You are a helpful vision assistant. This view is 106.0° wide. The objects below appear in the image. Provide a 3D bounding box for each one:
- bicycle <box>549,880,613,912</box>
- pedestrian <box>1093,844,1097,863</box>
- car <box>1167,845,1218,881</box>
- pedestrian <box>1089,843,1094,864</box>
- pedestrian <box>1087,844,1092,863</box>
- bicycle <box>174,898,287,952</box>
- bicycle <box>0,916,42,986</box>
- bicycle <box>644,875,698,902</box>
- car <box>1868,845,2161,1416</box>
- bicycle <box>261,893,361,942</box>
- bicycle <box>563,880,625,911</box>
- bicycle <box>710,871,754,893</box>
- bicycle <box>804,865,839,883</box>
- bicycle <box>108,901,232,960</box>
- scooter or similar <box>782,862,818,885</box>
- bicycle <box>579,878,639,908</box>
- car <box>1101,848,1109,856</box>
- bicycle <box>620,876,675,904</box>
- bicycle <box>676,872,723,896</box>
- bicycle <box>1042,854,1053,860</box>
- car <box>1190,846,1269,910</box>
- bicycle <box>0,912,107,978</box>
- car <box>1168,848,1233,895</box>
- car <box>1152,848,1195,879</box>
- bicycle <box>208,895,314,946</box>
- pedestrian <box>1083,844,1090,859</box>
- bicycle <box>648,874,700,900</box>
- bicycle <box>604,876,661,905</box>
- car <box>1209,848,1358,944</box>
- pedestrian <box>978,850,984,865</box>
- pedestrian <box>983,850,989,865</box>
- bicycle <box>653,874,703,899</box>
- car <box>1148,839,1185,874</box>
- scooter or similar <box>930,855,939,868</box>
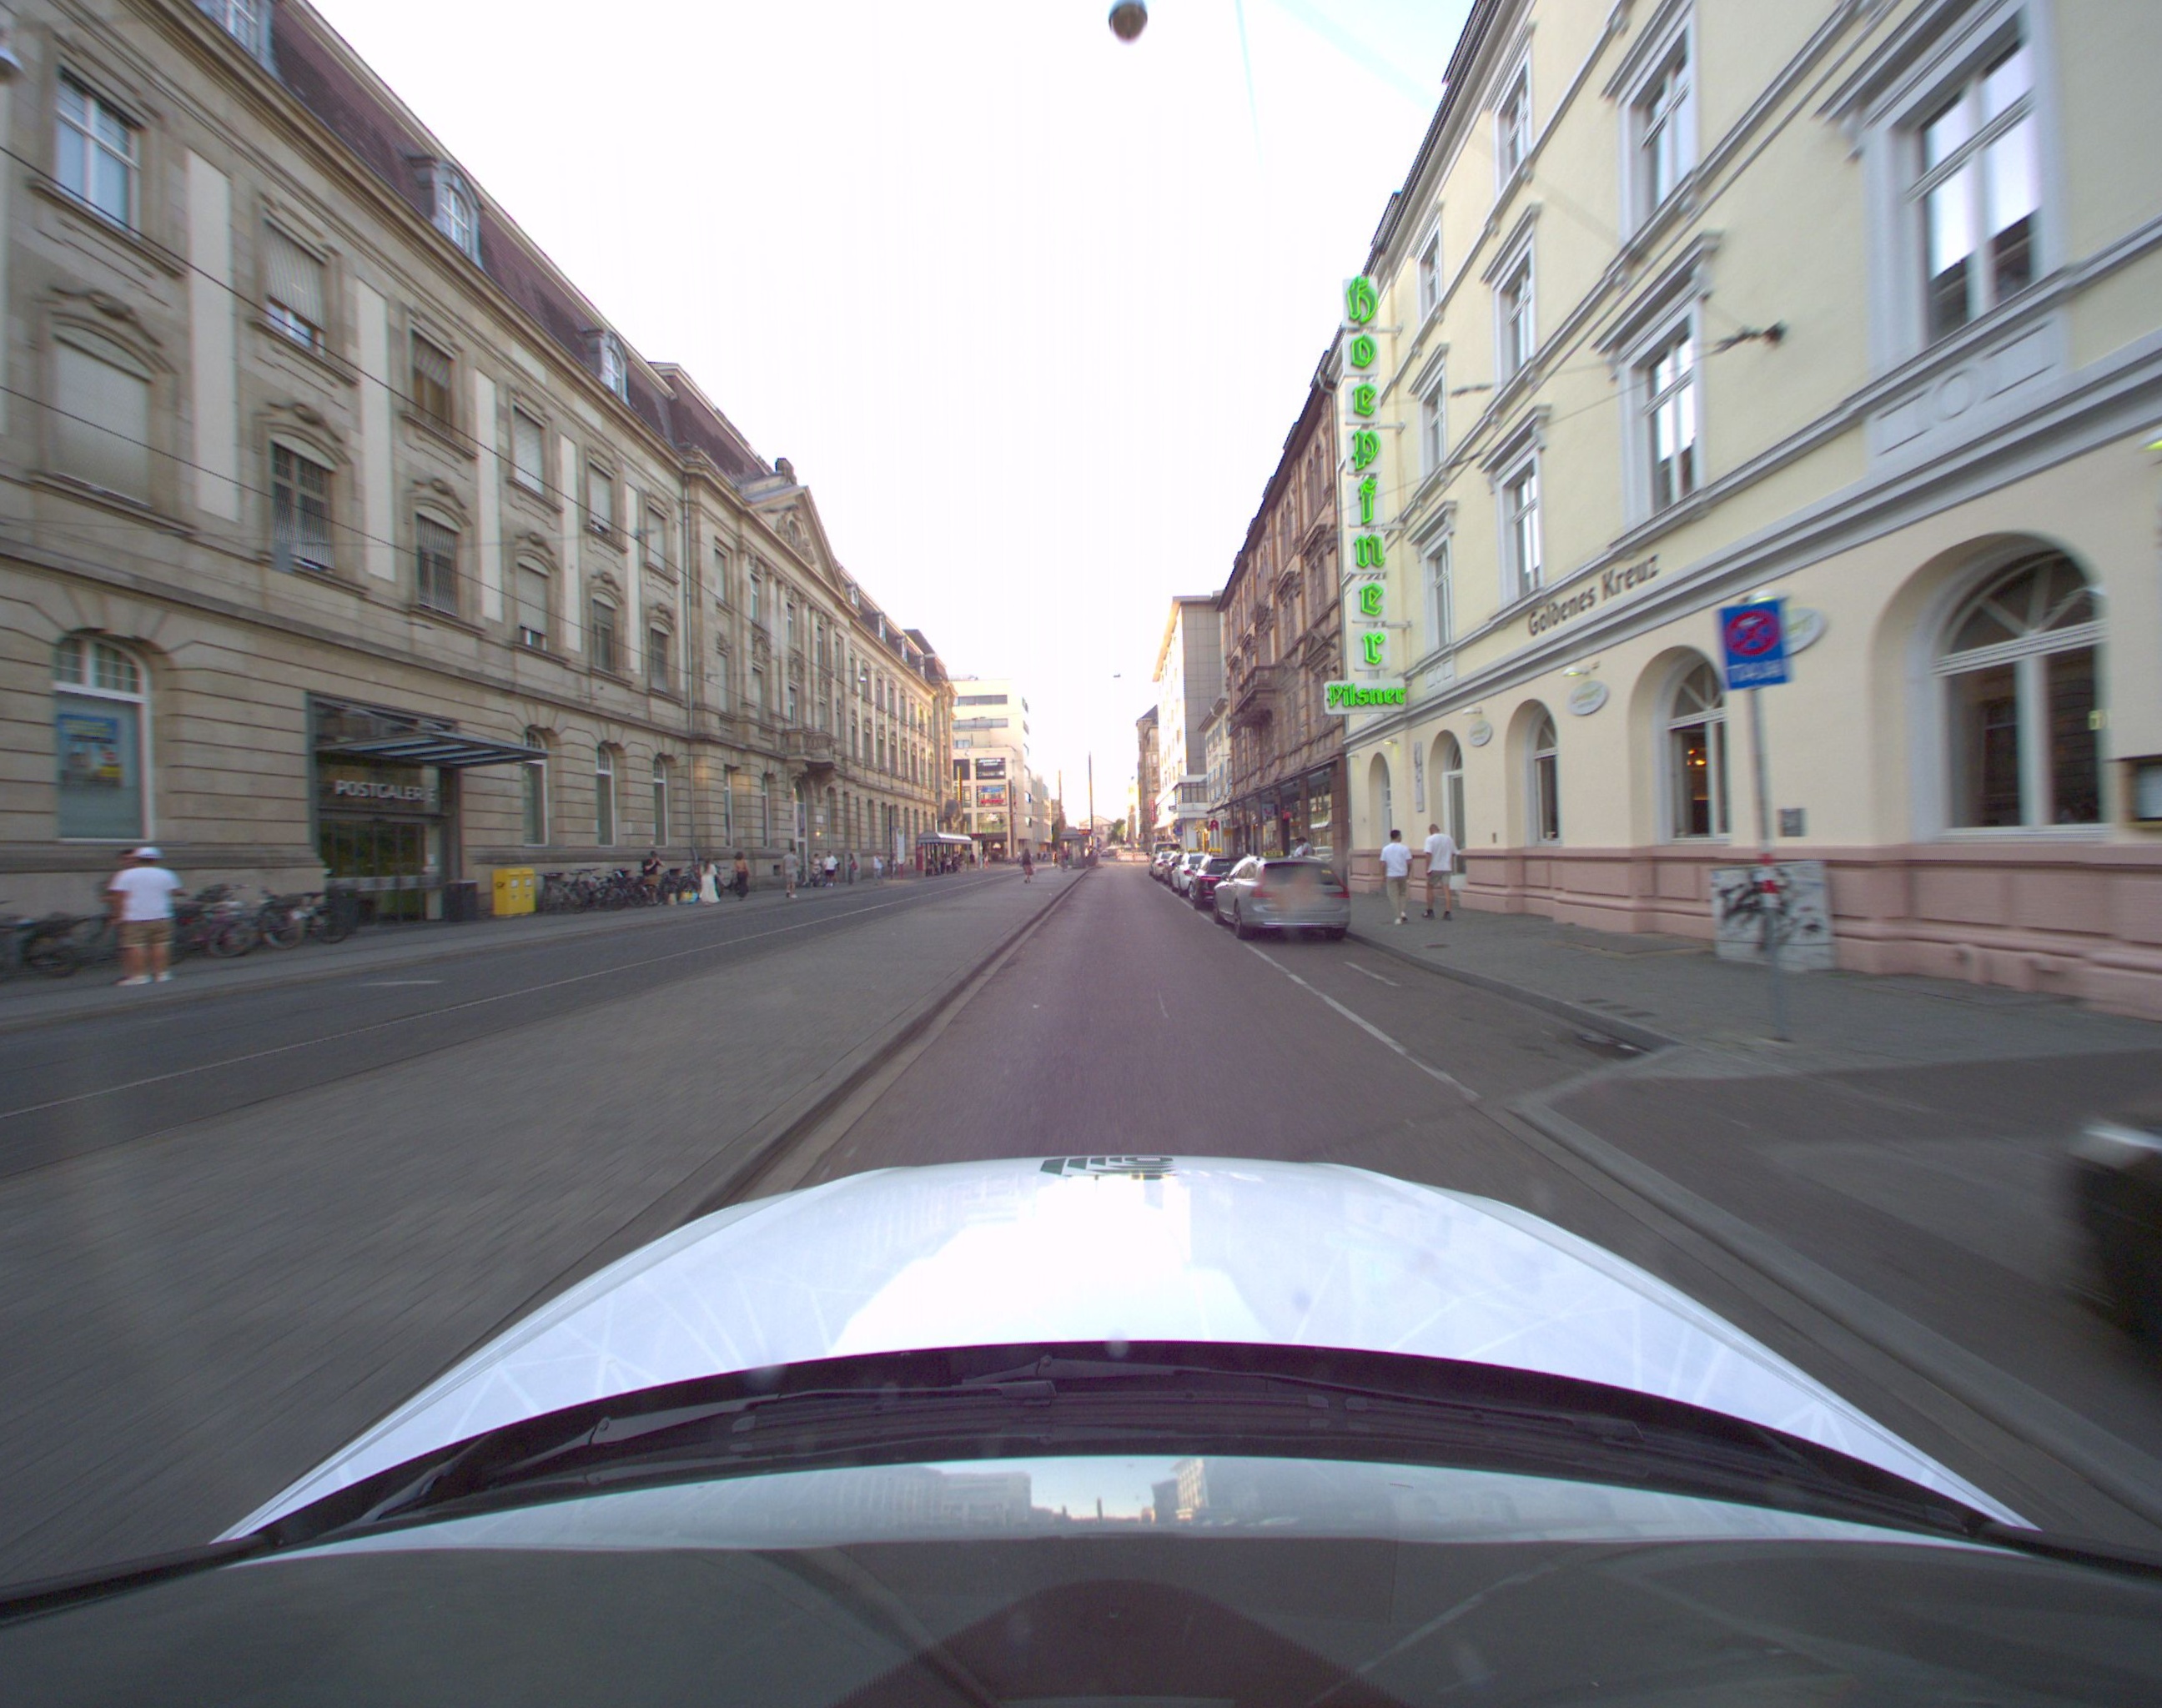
[{"bbox_3d":[-14.106,1.185,22.972,1.567,0.874,0.451,0,0,6],"label":"bicycle"},{"bbox_3d":[1.308,-0.038,76.555,0.340,1.796,0.544,0,0,0],"label":"pedestrian"},{"bbox_3d":[4.886,0.396,36.267,1.720,1.477,4.822,0,0,2],"label":"car"},{"bbox_3d":[0.876,-0.039,70.729,0.410,1.767,0.594,0,0,0],"label":"pedestrian"},{"bbox_3d":[0.754,-0.042,73.744,0.384,1.642,0.549,0,0,0],"label":"pedestrian"},{"bbox_3d":[-14.340,1.188,13.744,1.567,0.874,0.451,0,0,6],"label":"bicycle"},{"bbox_3d":[-14.626,1.262,10.686,1.567,0.874,0.451,0,0,6],"label":"bicycle"},{"bbox_3d":[-13.422,1.138,26.686,1.567,0.874,0.451,0,0,6],"label":"bicycle"},{"bbox_3d":[3.464,0.665,0.459,1.690,1.390,4.549,-3,0,2],"label":"car"},{"bbox_3d":[-14.528,1.194,15.379,1.567,0.874,0.451,0,0,6],"label":"bicycle"},{"bbox_3d":[-14.114,1.215,23.619,1.567,0.874,0.451,0,0,6],"label":"bicycle"},{"bbox_3d":[-13.735,1.097,32.084,1.567,0.874,0.451,0,0,6],"label":"bicycle"},{"bbox_3d":[-12.636,0.985,39.682,1.567,0.874,0.451,0,0,6],"label":"bicycle"},{"bbox_3d":[-14.249,1.185,12.747,1.567,0.874,0.451,0,0,6],"label":"bicycle"},{"bbox_3d":[-13.007,0.903,37.699,1.539,1.068,0.451,0,0,6],"label":"scooter or similar"},{"bbox_3d":[-14.030,1.160,24.203,1.567,0.874,0.451,0,0,6],"label":"bicycle"},{"bbox_3d":[5.790,-0.515,198.288,1.986,1.904,4.001,0,0,1],"label":"car"},{"bbox_3d":[-13.793,1.138,25.932,1.567,0.874,0.451,0,0,6],"label":"bicycle"},{"bbox_3d":[-14.143,1.104,30.219,1.567,0.874,0.451,0,0,6],"label":"bicycle"},{"bbox_3d":[-5.627,0.497,137.031,1.688,1.122,0.451,0,0,4],"label":"bicycle"},{"bbox_3d":[3.977,0.598,22.460,1.725,1.590,4.448,1,0,5],"label":"car"},{"bbox_3d":[-14.618,1.264,11.399,1.567,0.874,0.451,0,0,6],"label":"bicycle"},{"bbox_3d":[4.096,0.564,28.595,1.726,1.511,4.867,1,0,2],"label":"car"},{"bbox_3d":[4.681,0.450,41.952,1.799,1.483,4.780,1,1,2],"label":"car"},{"bbox_3d":[-14.760,1.194,14.665,1.567,0.874,0.451,0,0,6],"label":"bicycle"},{"bbox_3d":[0.654,-0.288,95.597,0.695,1.815,0.854,0,0,7],"label":"pedestrian"},{"bbox_3d":[-13.697,1.111,27.432,1.567,0.874,0.451,0,0,6],"label":"bicycle"},{"bbox_3d":[-13.923,1.127,25.299,1.567,0.874,0.451,0,0,6],"label":"bicycle"},{"bbox_3d":[3.658,0.665,15.539,1.799,1.475,4.695,0,1,2],"label":"car"},{"bbox_3d":[-10.164,0.338,82.428,0.519,1.525,0.499,-1,0,-15],"label":"pedestrian"},{"bbox_3d":[-9.608,0.343,82.669,0.526,1.525,0.500,-1,0,-12],"label":"pedestrian"},{"bbox_3d":[-14.158,1.146,28.594,1.567,0.874,0.451,0,0,6],"label":"bicycle"},{"bbox_3d":[5.053,0.150,48.694,1.870,1.923,4.701,1,0,2],"label":"car"},{"bbox_3d":[-13.241,0.683,73.604,0.484,1.182,1.294,0,0,4],"label":"scooter or similar"}]
